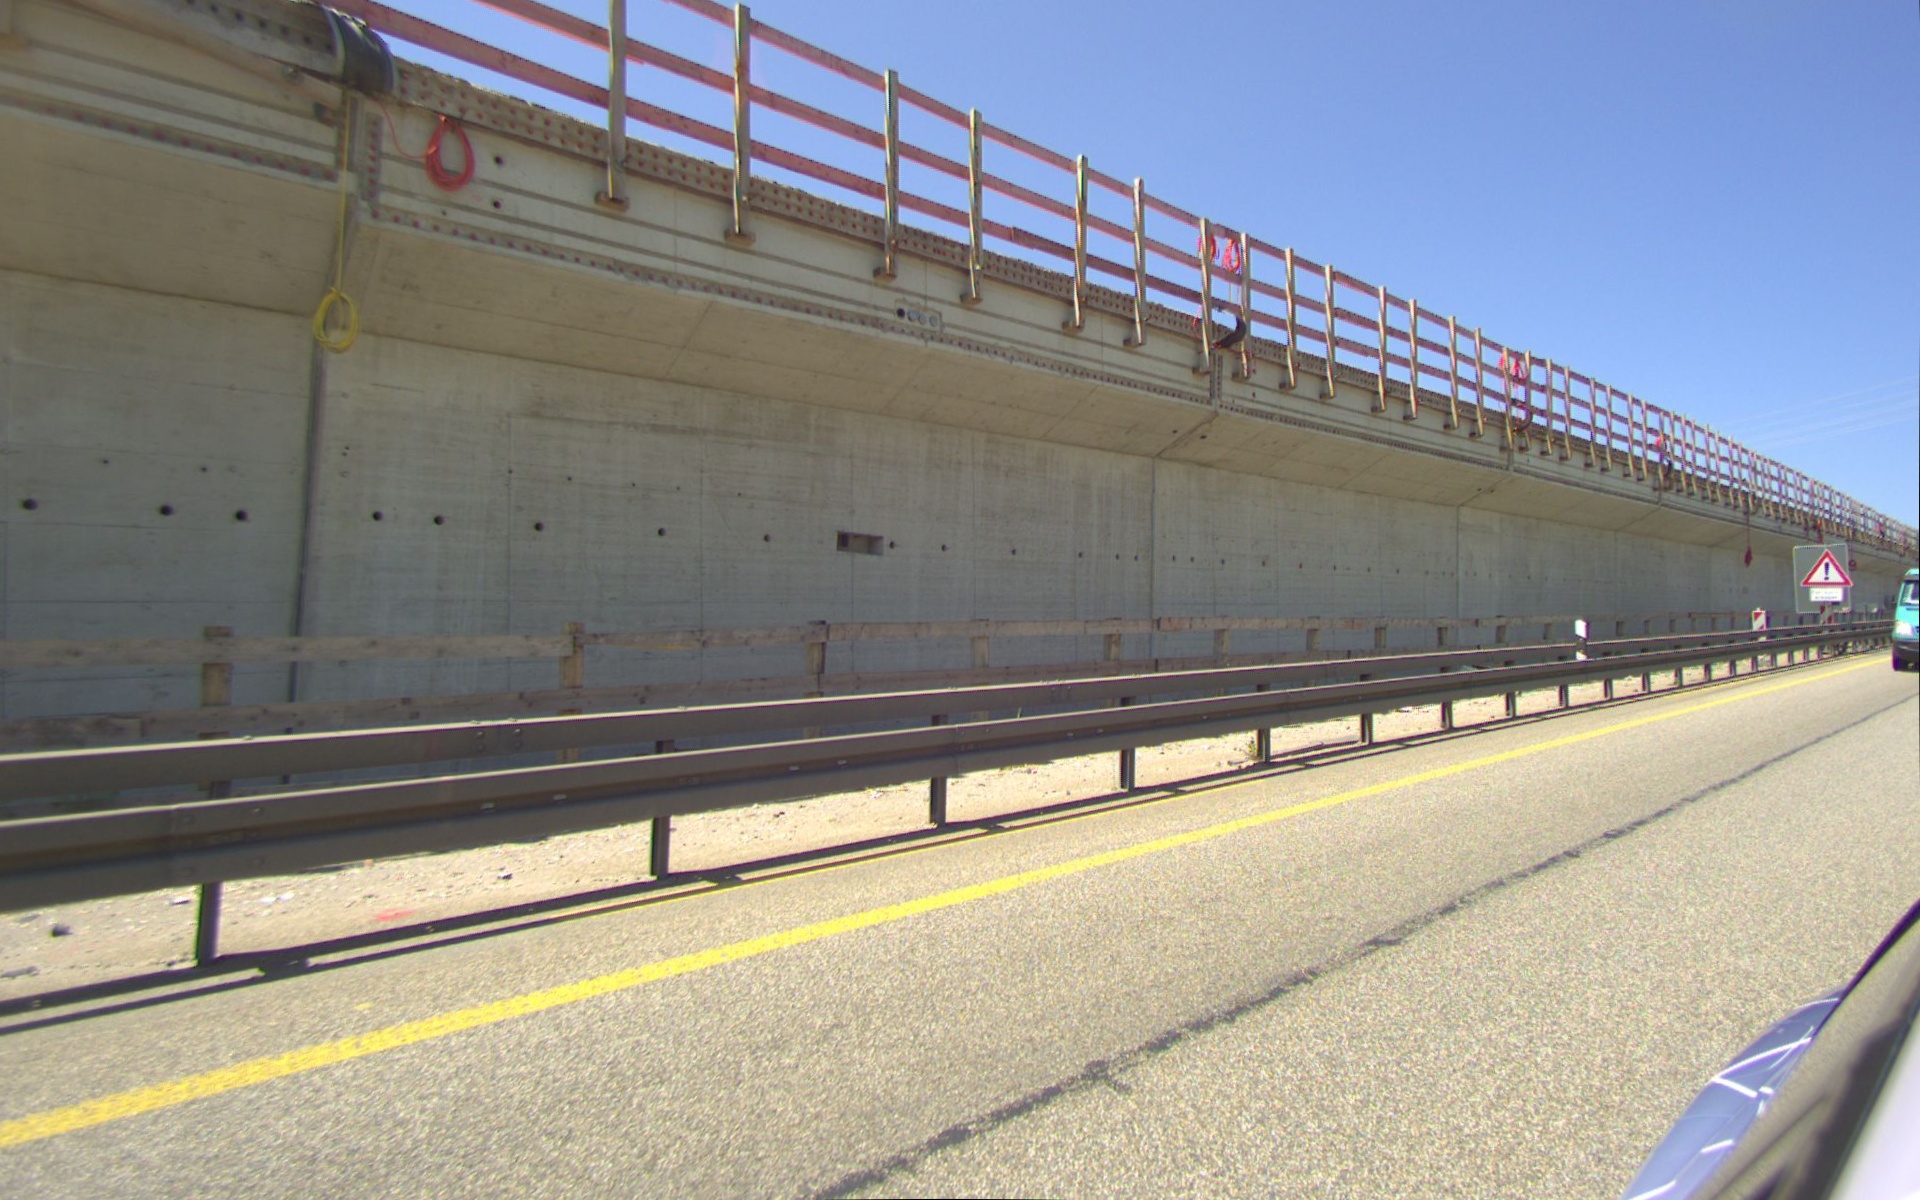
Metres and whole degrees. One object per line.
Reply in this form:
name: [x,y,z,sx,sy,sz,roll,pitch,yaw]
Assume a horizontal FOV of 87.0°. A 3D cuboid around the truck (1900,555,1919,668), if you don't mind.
truck: [23.564,0.212,23.182,7.302,2.387,2.138,-1,0,-40]
